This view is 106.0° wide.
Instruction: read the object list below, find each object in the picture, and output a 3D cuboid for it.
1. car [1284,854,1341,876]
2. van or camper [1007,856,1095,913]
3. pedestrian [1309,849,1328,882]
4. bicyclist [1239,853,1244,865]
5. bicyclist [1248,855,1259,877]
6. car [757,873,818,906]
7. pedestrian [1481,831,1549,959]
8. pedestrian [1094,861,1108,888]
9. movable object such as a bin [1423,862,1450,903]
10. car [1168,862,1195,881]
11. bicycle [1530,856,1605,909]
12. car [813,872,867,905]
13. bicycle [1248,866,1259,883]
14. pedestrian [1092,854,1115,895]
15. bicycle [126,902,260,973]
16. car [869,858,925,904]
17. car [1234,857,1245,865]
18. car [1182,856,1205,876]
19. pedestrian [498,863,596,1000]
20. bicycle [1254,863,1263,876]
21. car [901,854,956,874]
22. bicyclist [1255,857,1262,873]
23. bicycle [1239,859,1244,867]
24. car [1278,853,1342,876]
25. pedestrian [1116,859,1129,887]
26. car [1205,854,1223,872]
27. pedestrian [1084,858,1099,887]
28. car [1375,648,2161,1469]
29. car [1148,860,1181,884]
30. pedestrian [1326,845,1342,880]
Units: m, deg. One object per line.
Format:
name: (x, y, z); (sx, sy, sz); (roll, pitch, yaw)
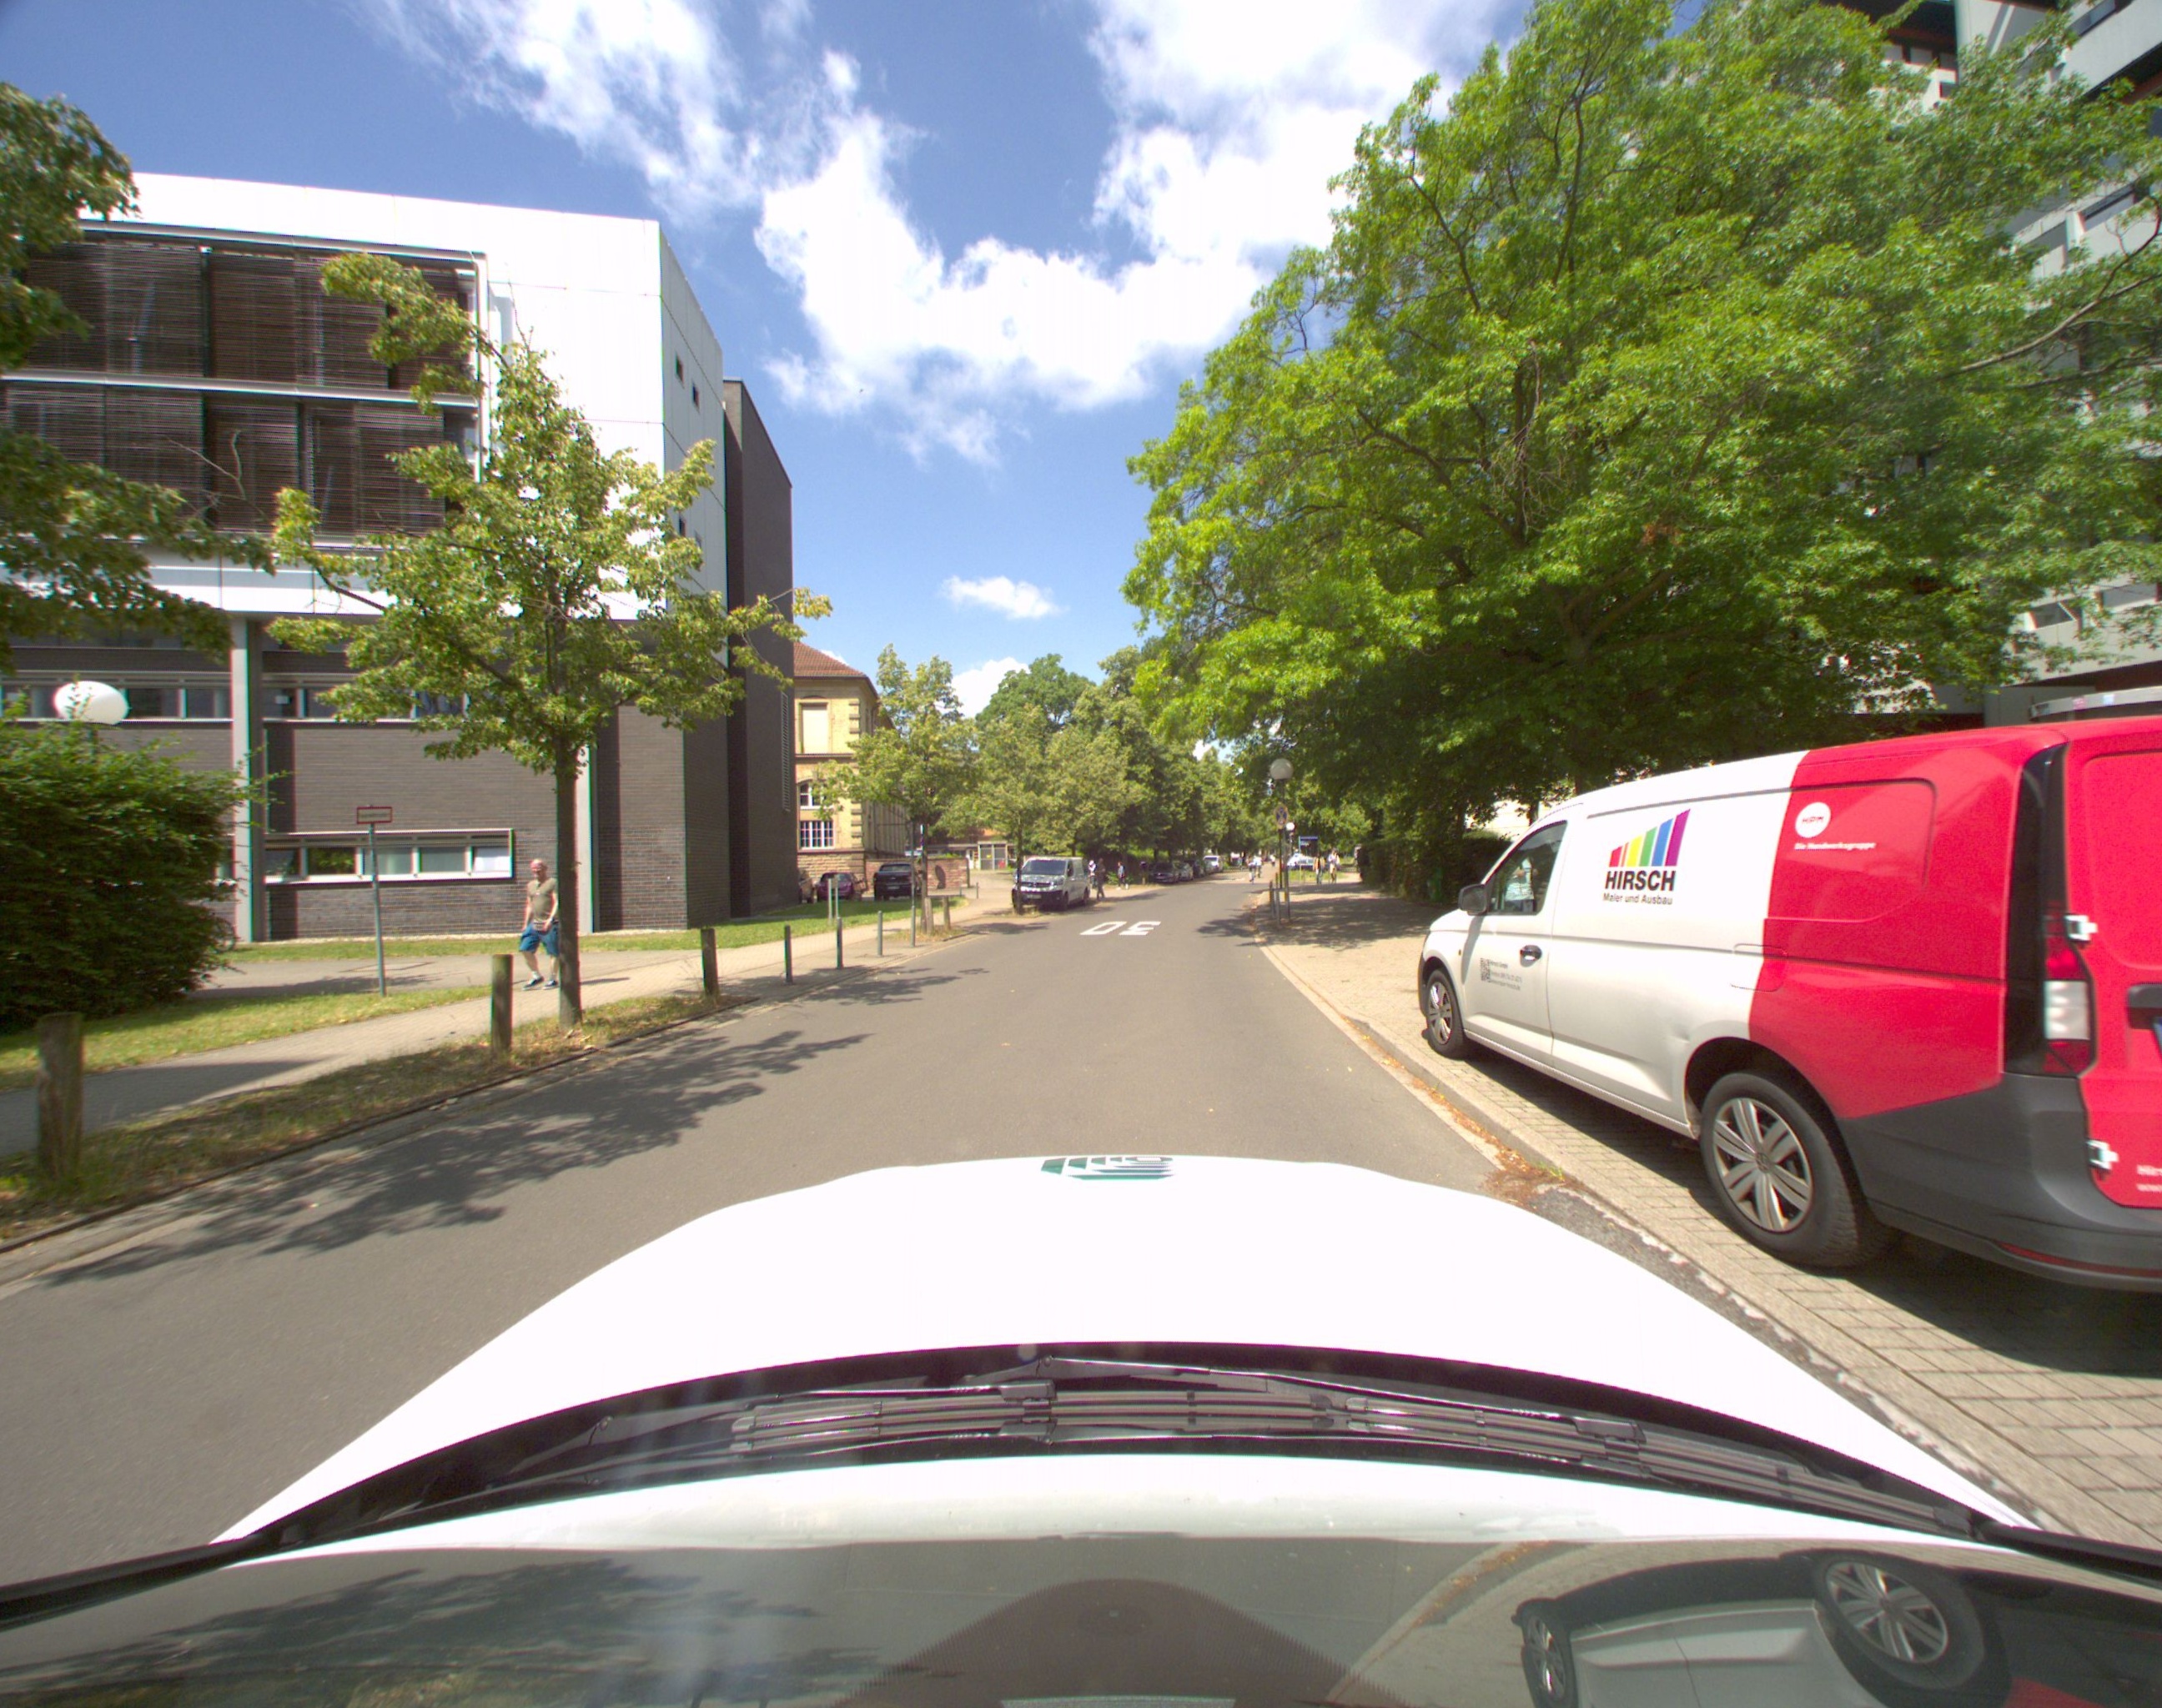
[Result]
car: (18.561, 0.881, 65.453); (4.226, 1.588, 1.817); (-3, -1, 14)
van or camper: (-0.996, 1.046, 30.489); (1.940, 1.923, 5.439); (-1, 0, 13)
pedestrian: (12.733, 0.599, 43.570); (0.813, 1.755, 0.845); (-2, -1, 24)
bicyclist: (20.491, 0.693, 104.203); (0.559, 1.498, 0.830); (-2, -1, 13)
bicyclist: (10.439, 0.731, 49.262); (0.605, 1.296, 0.613); (-2, -1, 13)
car: (-13.211, 1.565, 36.911); (1.816, 1.324, 4.150); (0, -1, -8)
pedestrian: (6.408, 0.584, 12.028); (0.728, 1.822, 0.622); (-1, -1, -43)
pedestrian: (1.134, 1.166, 46.252); (0.586, 1.527, 0.490); (-1, -1, -24)
movable object such as a bin: (9.662, 0.770, 22.128); (0.487, 1.072, 0.505); (-2, -1, 0)
car: (7.880, 1.336, 63.795); (1.604, 1.388, 4.014); (-2, -1, 13)
bicycle: (11.051, 0.625, 18.562); (0.497, 1.119, 1.870); (-2, -1, -2)
car: (-10.970, 1.541, 37.325); (1.816, 1.324, 3.756); (-2, -1, -9)
bicycle: (10.443, 1.228, 49.206); (0.609, 1.001, 1.428); (-2, -1, 13)
pedestrian: (1.031, 0.959, 37.722); (0.717, 1.857, 0.796); (-2, -1, 31)
bicycle: (-17.049, 1.569, 15.713); (0.580, 1.162, 2.043); (-2, 0, -9)
car: (-8.429, 1.208, 37.727); (2.175, 1.926, 5.169); (-2, -1, -9)
car: (25.967, 1.143, 133.527); (1.605, 1.365, 4.013); (-2, -1, 12)
car: (9.975, 1.081, 72.262); (1.604, 1.679, 4.014); (-2, -1, 13)
pedestrian: (-7.208, 1.018, 11.027); (0.580, 1.764, 0.914); (-2, -1, 12)
bicycle: (14.435, 1.238, 66.132); (0.609, 1.001, 1.429); (-2, 0, 13)
car: (-12.378, 0.787, 66.254); (4.108, 1.517, 1.742); (-1, -1, -25)
bicyclist: (14.462, 0.876, 66.282); (0.518, 1.296, 0.613); (-2, -1, 13)
bicycle: (20.515, 1.095, 104.213); (0.573, 1.001, 1.428); (-2, -1, 13)
car: (17.020, 0.763, 60.763); (4.453, 1.525, 1.817); (-3, -1, 14)
pedestrian: (2.404, 1.109, 47.443); (0.498, 1.585, 0.489); (-1, -1, -35)
car: (14.257, 0.934, 87.044); (1.604, 1.816, 4.014); (-2, -1, 13)
pedestrian: (0.601, 1.096, 47.365); (0.631, 1.663, 0.597); (-1, -1, -34)
car: (3.299, 0.450, 4.312); (1.841, 1.891, 4.893); (-2, 0, 2)
car: (5.823, 1.200, 56.405); (1.747, 1.522, 4.126); (-2, -1, 13)
pedestrian: (13.522, 0.453, 43.485); (0.665, 1.872, 0.796); (-2, -1, 25)
